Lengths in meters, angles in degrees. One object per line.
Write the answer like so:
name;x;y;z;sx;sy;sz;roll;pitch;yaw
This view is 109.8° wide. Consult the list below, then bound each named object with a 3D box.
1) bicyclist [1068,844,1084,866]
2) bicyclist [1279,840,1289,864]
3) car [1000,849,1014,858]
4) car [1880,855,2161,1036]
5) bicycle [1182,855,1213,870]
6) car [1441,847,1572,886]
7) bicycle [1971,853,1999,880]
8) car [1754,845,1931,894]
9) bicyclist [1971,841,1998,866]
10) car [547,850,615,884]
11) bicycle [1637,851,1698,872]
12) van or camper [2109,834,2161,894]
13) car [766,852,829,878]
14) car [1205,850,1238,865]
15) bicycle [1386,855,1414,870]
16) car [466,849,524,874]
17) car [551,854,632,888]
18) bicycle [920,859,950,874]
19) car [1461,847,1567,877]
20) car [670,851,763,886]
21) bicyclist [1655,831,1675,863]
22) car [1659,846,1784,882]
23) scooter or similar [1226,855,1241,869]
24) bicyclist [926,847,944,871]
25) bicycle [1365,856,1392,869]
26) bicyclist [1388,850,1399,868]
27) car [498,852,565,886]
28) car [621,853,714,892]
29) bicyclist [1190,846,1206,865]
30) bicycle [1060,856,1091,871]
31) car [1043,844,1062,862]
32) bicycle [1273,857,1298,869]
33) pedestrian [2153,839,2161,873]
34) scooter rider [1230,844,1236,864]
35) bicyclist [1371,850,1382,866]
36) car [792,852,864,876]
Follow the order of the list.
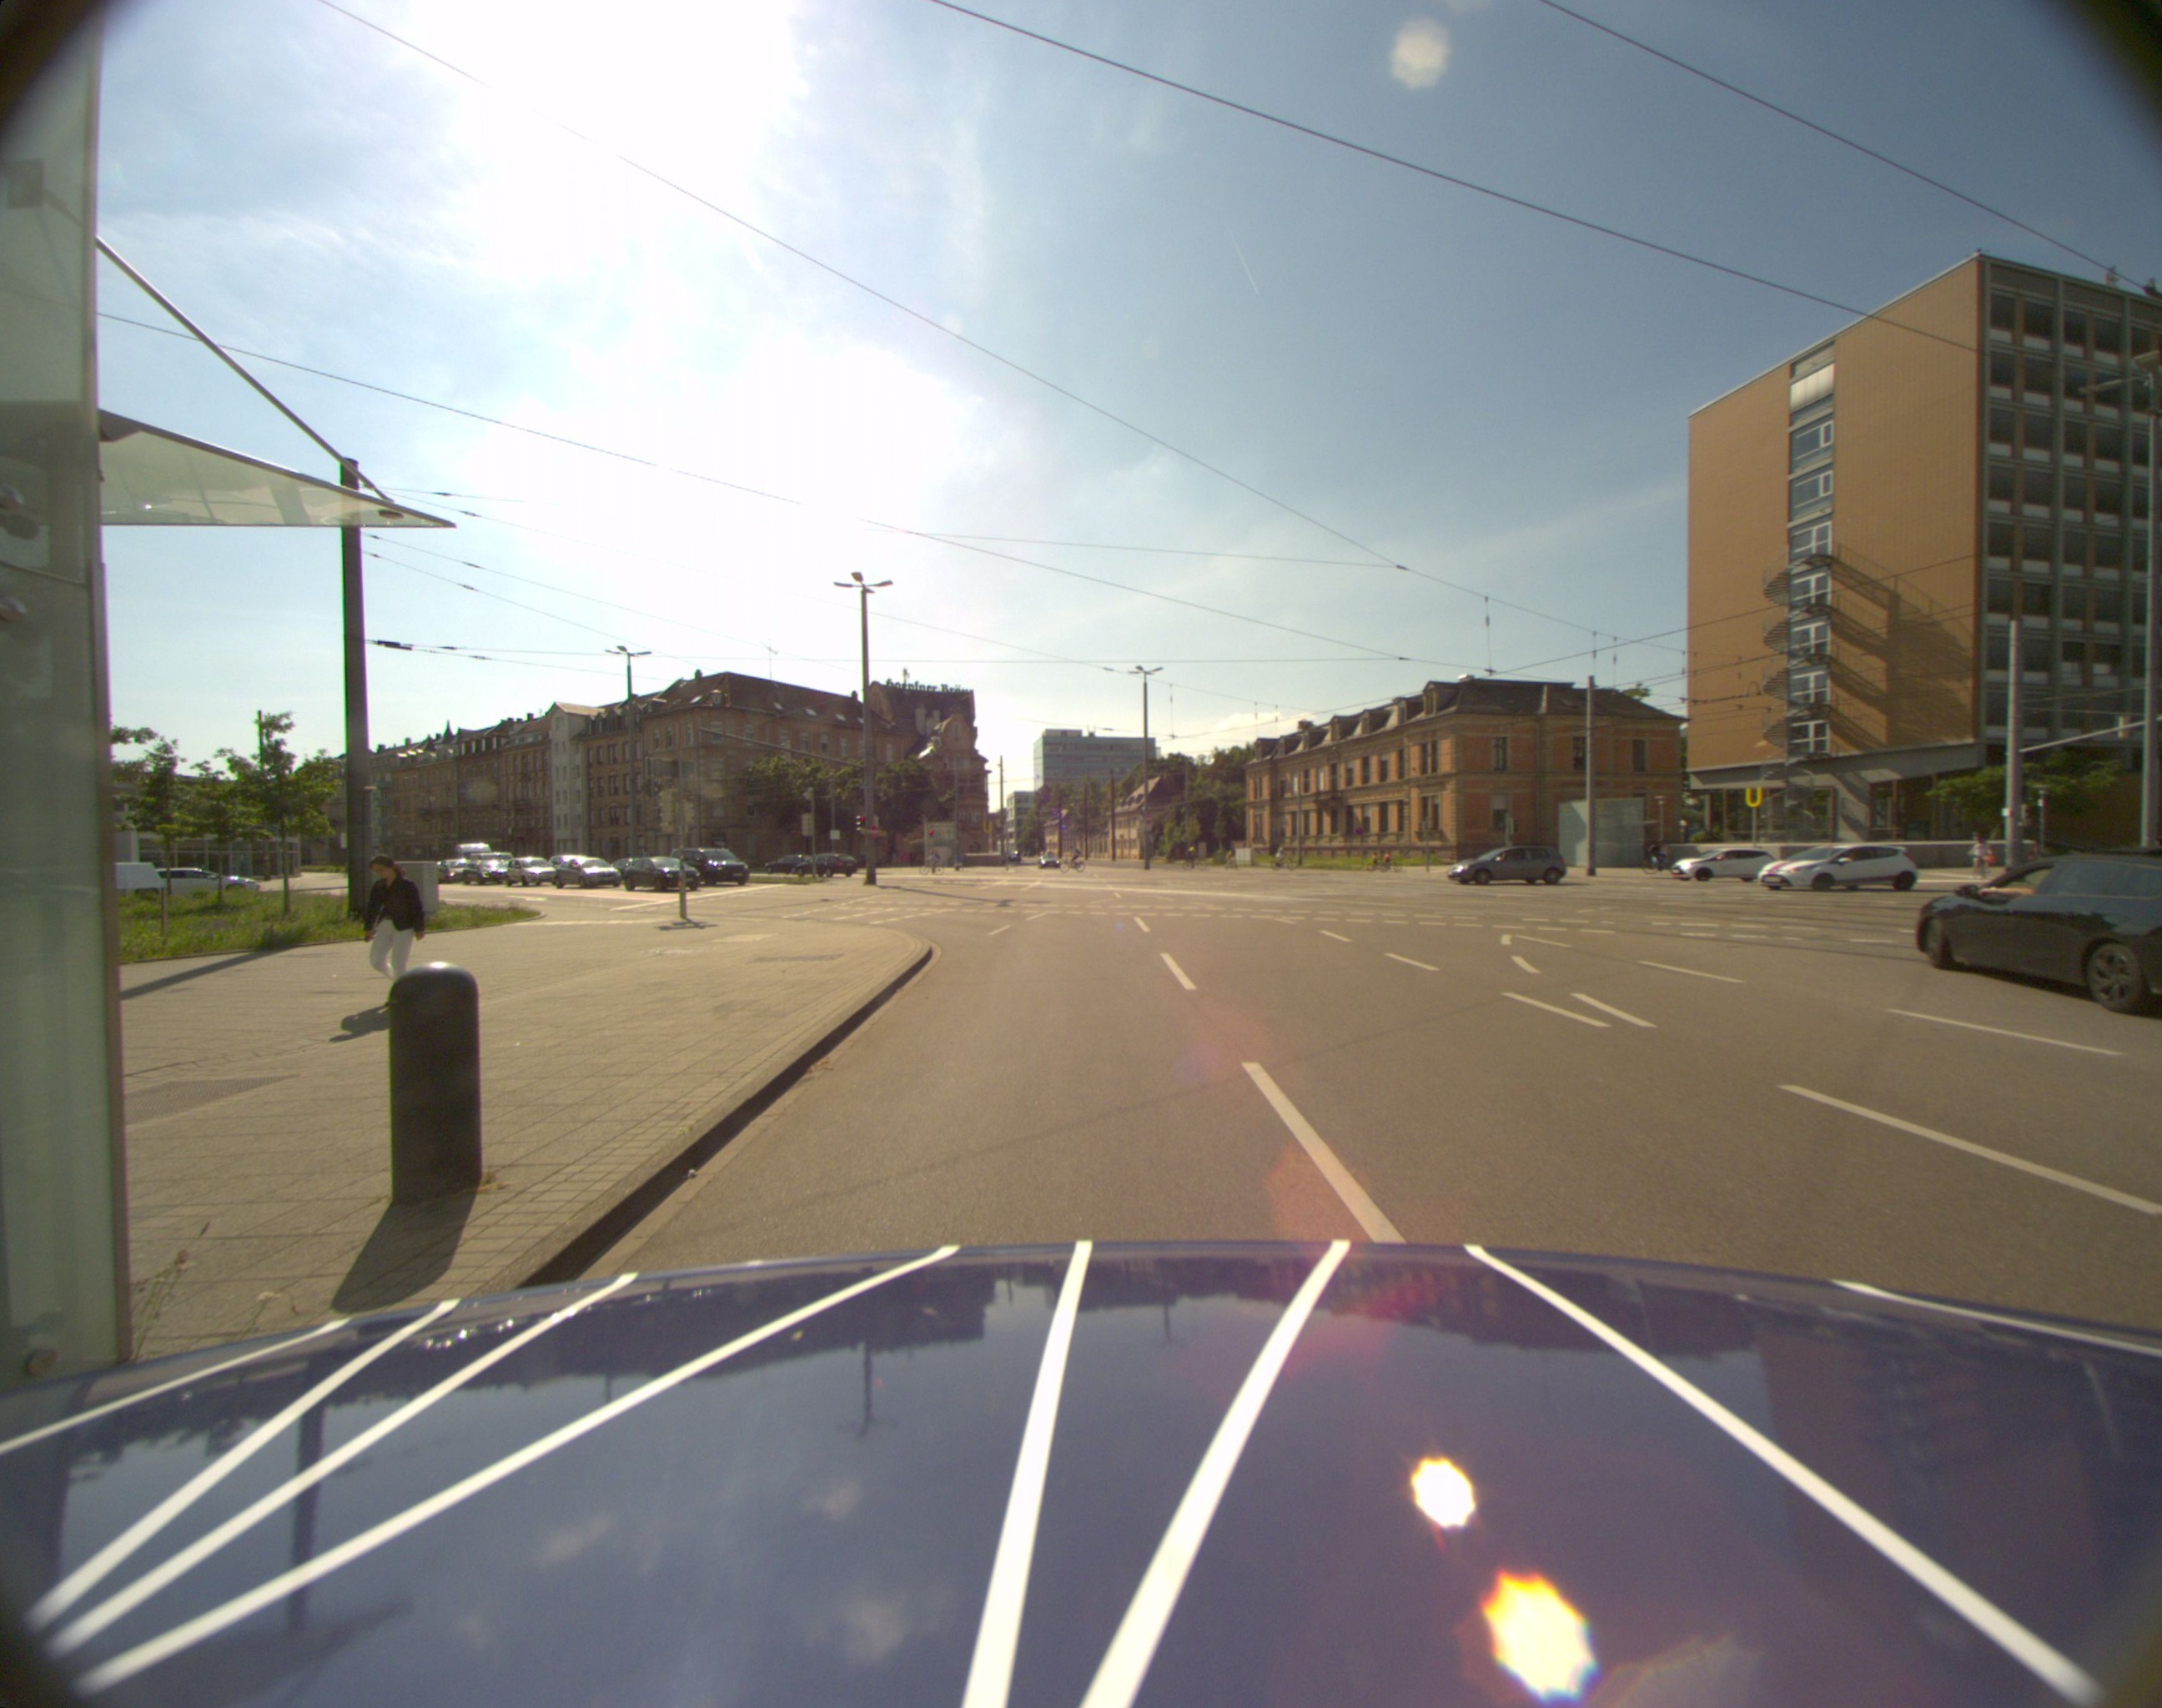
bicyclist;-0.335;0.044;51.821;0.950;1.478;0.716;-1;-1;-13
bicyclist;13.902;-0.119;52.023;0.648;1.611;0.503;0;-1;23
car;-11.493;-0.059;118.156;1.639;1.337;3.578;-1;1;-13
car;10.277;0.762;7.388;1.755;1.448;4.430;0;1;22
bicycle;8.425;0.634;54.986;2.021;1.062;0.686;-2;-1;28
car;16.383;0.480;29.422;4.115;1.416;1.652;-1;1;5
bicycle;38.802;0.521;32.622;1.922;1.010;0.714;-4;3;-39
car;23.481;0.452;23.520;3.860;1.406;1.655;-1;1;-1
bicyclist;38.813;-0.026;32.626;0.918;1.023;0.714;-4;3;-39
car;-29.764;0.780;45.216;4.189;1.905;1.904;-2;0;35
bicycle;30.321;0.386;39.332;2.456;1.063;0.670;0;1;41
van or camper;36.693;0.281;23.929;4.911;1.877;1.923;-1;1;19
car;-20.681;0.765;55.353;4.385;1.422;1.708;5;4;25
car;13.111;0.286;70.917;1.673;1.306;3.447;-1;1;-15
bicycle;20.432;0.542;48.733;1.572;0.881;0.520;0;1;14
car;-41.889;0.504;54.289;5.014;1.671;2.197;0;1;40
car;-24.226;0.862;37.573;3.989;1.578;1.904;-2;0;35
bicycle;-10.209;0.849;53.203;2.015;1.010;0.717;-1;3;26
car;22.154;0.382;38.997;4.515;1.427;1.639;0;1;41
car;-17.857;0.671;37.164;4.702;1.578;1.971;0;1;35
bicyclist;30.149;-0.344;39.236;0.780;1.615;0.670;0;2;41
car;27.446;0.416;32.694;3.752;1.466;1.685;-1;1;16
scooter or similar;11.000;0.552;54.727;0.990;0.970;0.589;-1;-1;17
bicyclist;-10.219;0.353;53.165;0.872;1.660;0.717;0;3;26
bicycle;19.526;0.580;49.927;1.584;0.860;0.502;0;-1;16
bicyclist;20.066;0.316;48.788;0.602;1.190;0.520;-1;1;14
car;-30.452;0.852;42.062;4.189;1.729;1.660;-2;0;35
car;-18.351;0.780;33.669;4.198;1.578;1.901;-1;1;35
bicyclist;8.453;0.115;54.983;0.907;1.412;0.686;-1;-1;28
bicycle;-0.393;0.660;51.794;2.022;1.009;0.716;0;-1;-14
car;-2.580;-0.099;69.342;1.637;1.574;3.999;-1;1;-2
bicycle;14.001;0.611;51.964;1.583;0.860;0.503;0;-1;23
pedestrian;53.089;0.075;37.040;0.730;1.655;0.593;-1;2;17
scooter rider;10.951;-0.006;54.741;0.406;1.388;0.589;-1;-1;17
bicyclist;19.438;0.245;49.952;0.604;1.023;0.502;0;-1;16
car;-16.191;0.608;48.578;4.766;1.427;1.639;0;1;32
